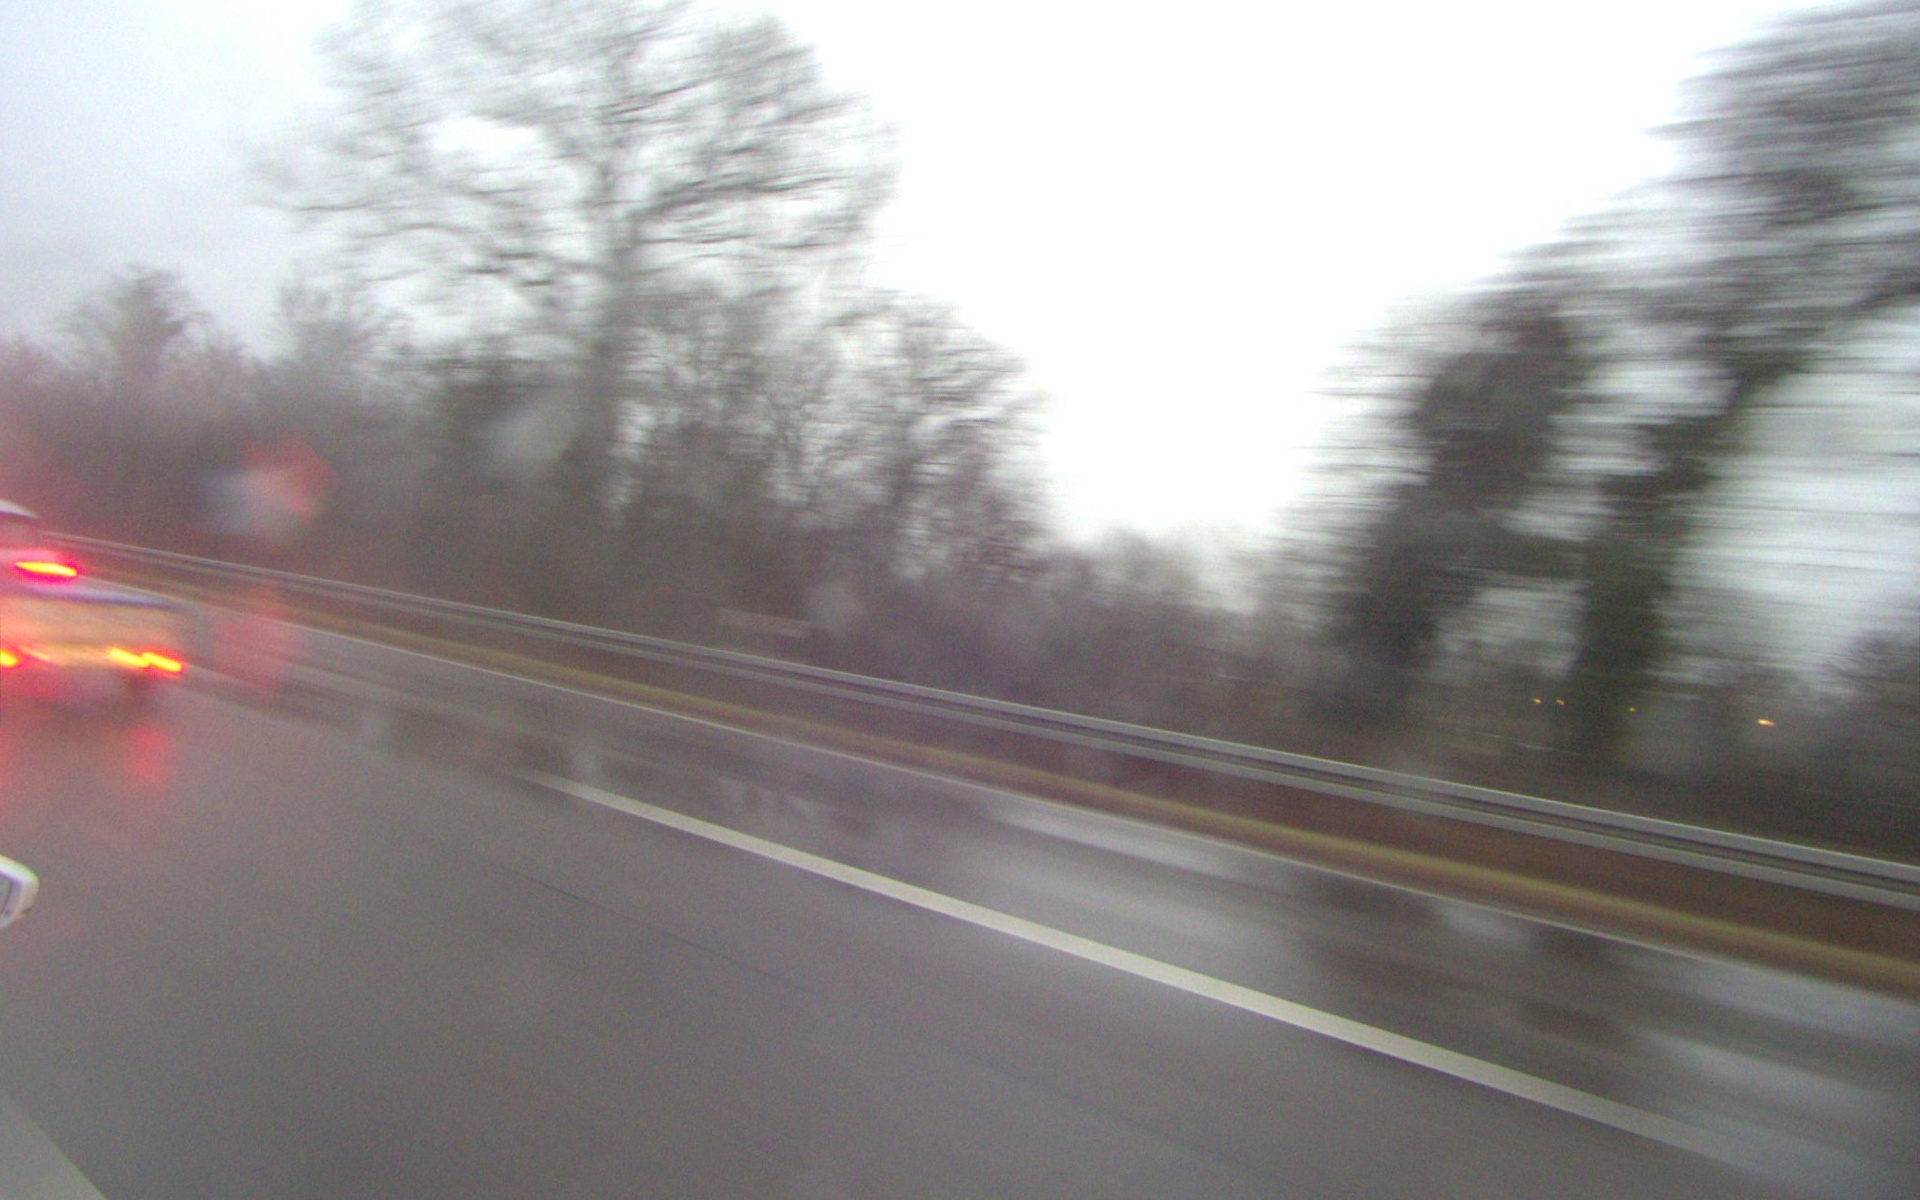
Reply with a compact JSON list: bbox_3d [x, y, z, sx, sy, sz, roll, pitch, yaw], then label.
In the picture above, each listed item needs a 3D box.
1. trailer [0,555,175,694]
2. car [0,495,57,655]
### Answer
[{"bbox_3d":[-8.359,0.127,8.515,2.902,0.936,1.750,6,-1,32],"label":"trailer"},{"bbox_3d":[-11.151,-0.461,10.281,3.748,1.535,1.789,6,-1,32],"label":"car"}]
